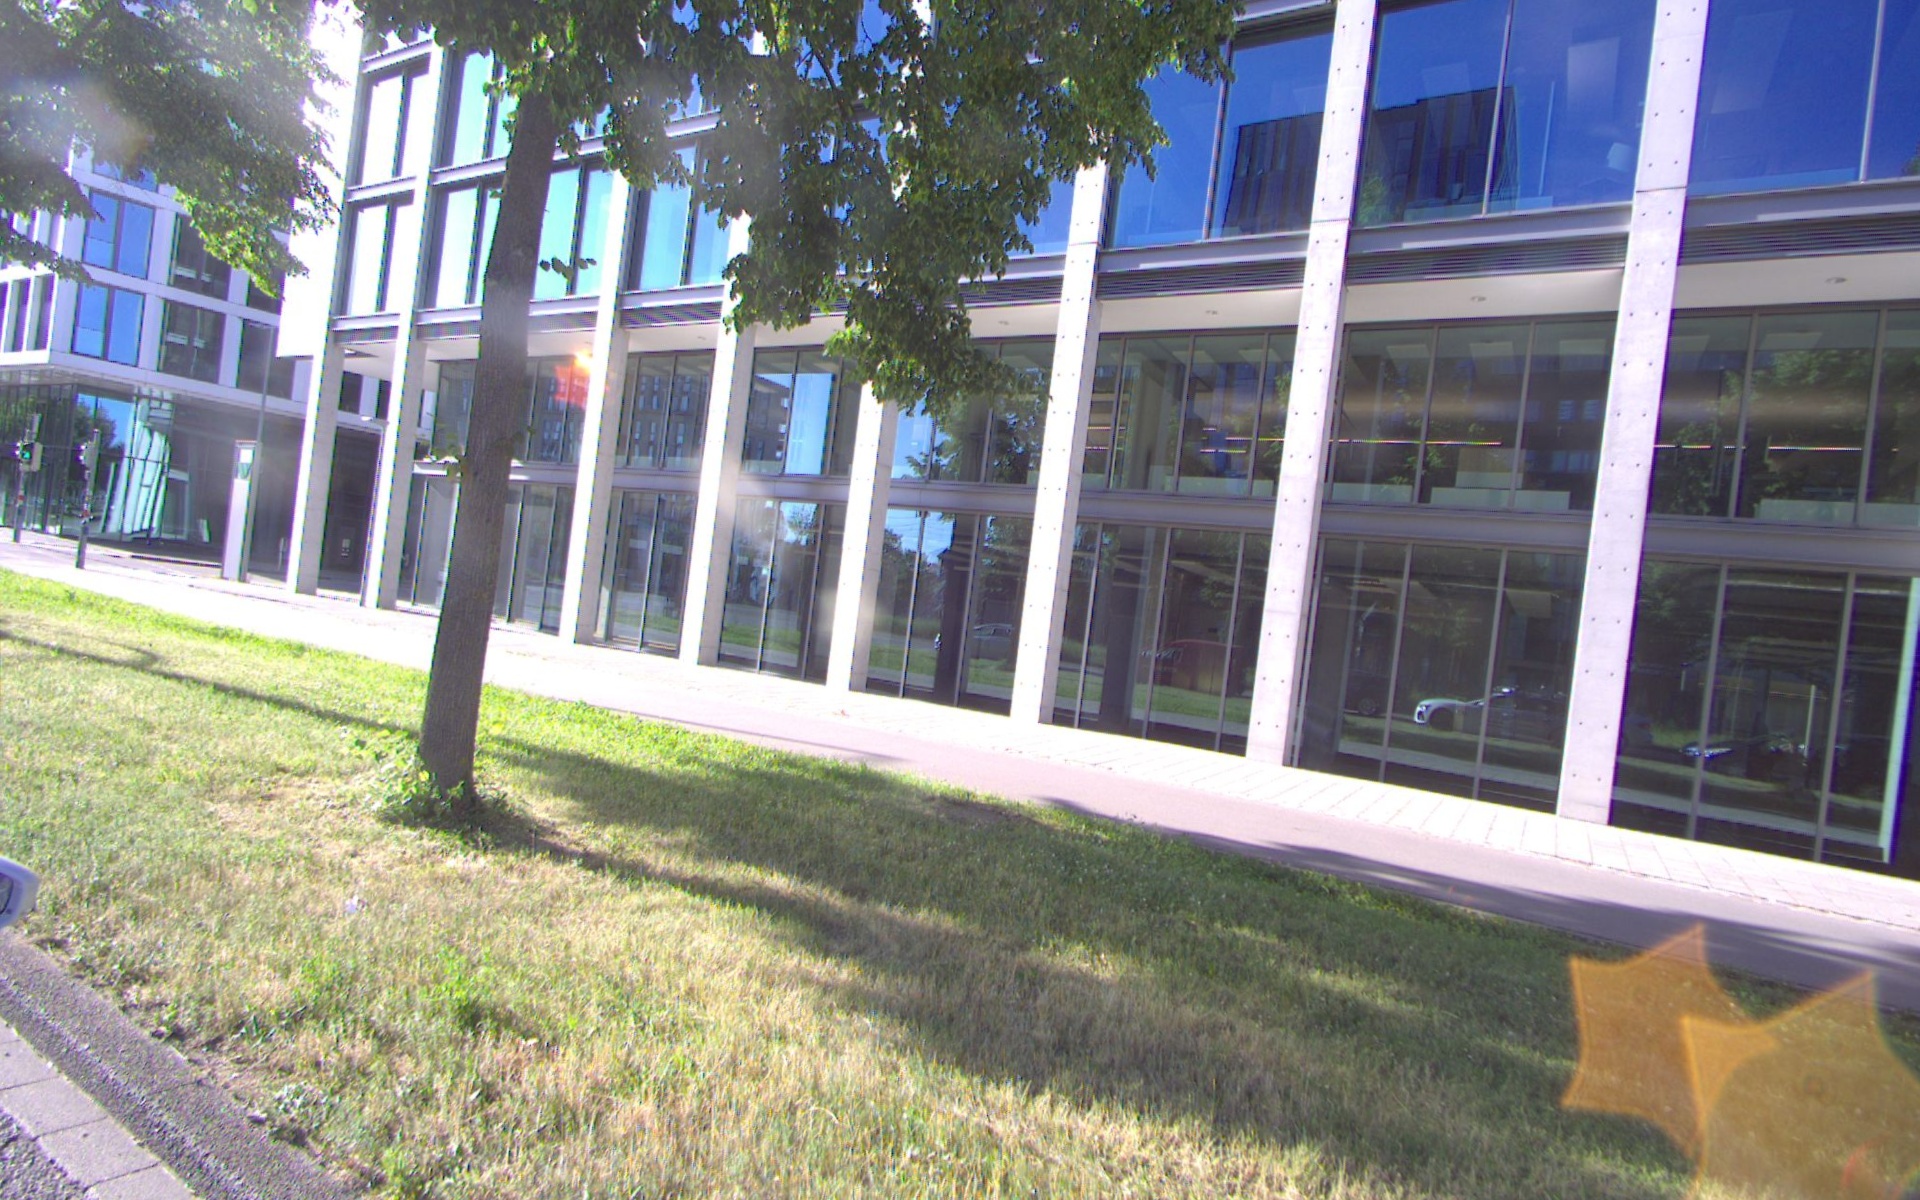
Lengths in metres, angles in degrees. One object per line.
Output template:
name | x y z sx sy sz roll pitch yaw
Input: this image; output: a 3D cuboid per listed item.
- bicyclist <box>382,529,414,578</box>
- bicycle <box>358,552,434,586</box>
bicyclist | -26.529 -2.193 47.489 0.807 2.118 0.938 7 0 44
bicycle | -26.608 -1.446 47.493 0.807 1.204 2.937 7 -1 43
